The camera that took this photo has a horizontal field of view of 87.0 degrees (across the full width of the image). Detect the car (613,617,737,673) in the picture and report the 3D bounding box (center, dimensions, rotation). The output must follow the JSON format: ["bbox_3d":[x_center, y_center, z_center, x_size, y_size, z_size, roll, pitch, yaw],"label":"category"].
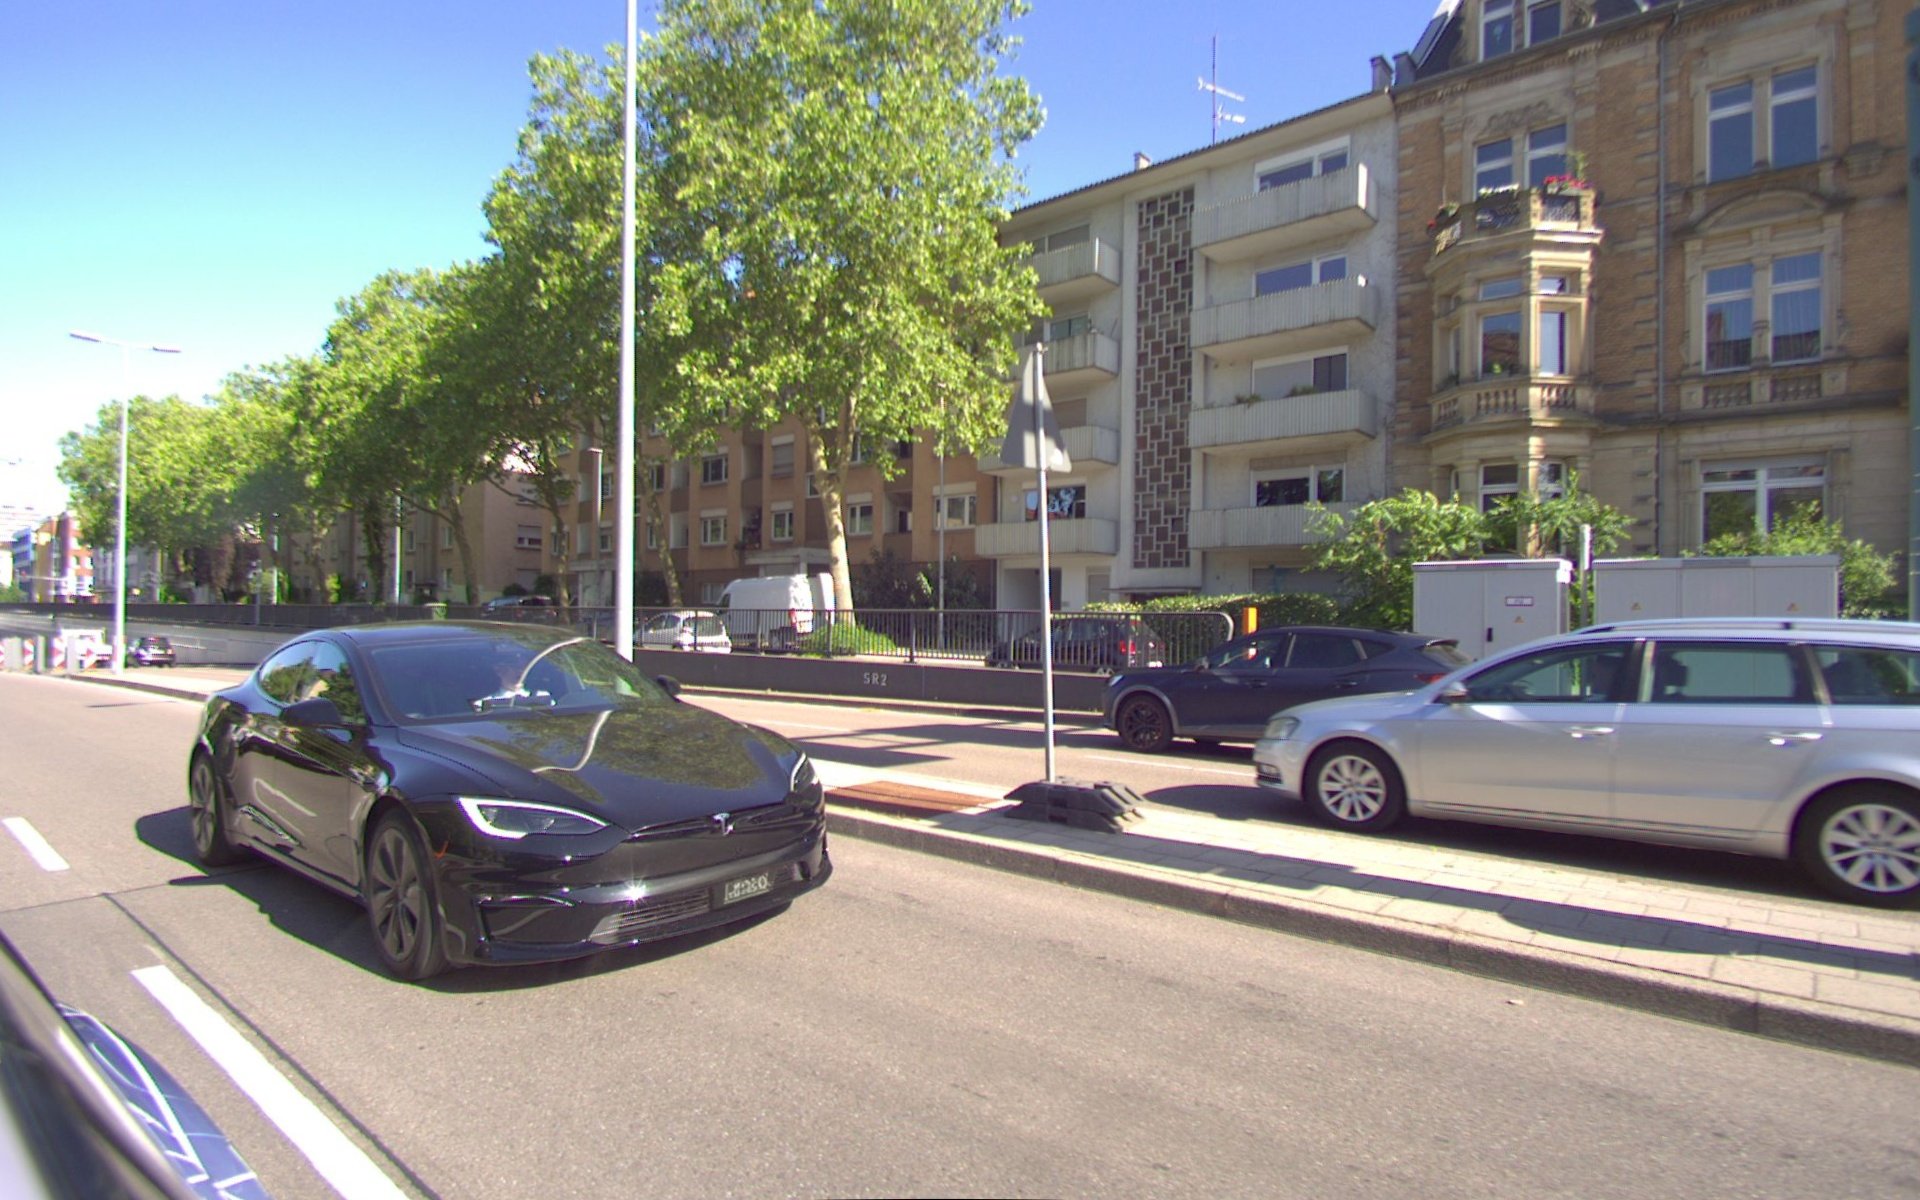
[{"bbox_3d":[-8.336,1.272,29.458,3.684,1.498,1.613,-1,0,38],"label":"car"}]

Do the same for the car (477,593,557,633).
[{"bbox_3d":[-20.676,0.657,47.225,3.999,1.766,1.972,-2,-2,42],"label":"car"}]

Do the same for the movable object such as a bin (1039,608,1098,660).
[{"bbox_3d":[2.946,0.937,27.509,1.314,1.373,0.883,-2,-4,41],"label":"movable object such as a bin"}]

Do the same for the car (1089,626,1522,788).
[{"bbox_3d":[3.686,1.067,11.308,4.309,1.452,1.590,-1,-4,42],"label":"car"}]

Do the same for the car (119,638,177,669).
[{"bbox_3d":[-40.345,2.645,50.290,3.296,1.485,1.641,-1,-3,41],"label":"car"}]

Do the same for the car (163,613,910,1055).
[{"bbox_3d":[-2.603,0.822,5.530,4.622,1.422,1.905,-2,-2,41],"label":"car"}]

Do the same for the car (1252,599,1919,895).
[{"bbox_3d":[4.486,0.815,6.537,4.613,1.464,1.973,-2,-5,40],"label":"car"}]

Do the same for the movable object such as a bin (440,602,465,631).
[{"bbox_3d":[-30.397,1.009,60.579,1.253,1.654,0.873,-2,-4,41],"label":"movable object such as a bin"}]

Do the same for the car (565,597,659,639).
[{"bbox_3d":[-14.372,0.790,41.693,3.999,1.592,1.972,-2,-4,42],"label":"car"}]

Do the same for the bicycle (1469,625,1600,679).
[{"bbox_3d":[11.572,1.025,20.457,2.248,1.013,0.462,-1,0,40],"label":"bicycle"}]

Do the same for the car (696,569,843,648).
[{"bbox_3d":[-6.577,0.372,34.651,5.286,2.465,2.220,-2,-4,43],"label":"car"}]

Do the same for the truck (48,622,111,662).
[{"bbox_3d":[-55.609,2.650,63.890,5.366,2.413,2.255,-2,-4,42],"label":"truck"}]

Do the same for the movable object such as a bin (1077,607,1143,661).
[{"bbox_3d":[3.938,0.913,26.529,1.474,1.371,0.883,-2,-4,43],"label":"movable object such as a bin"}]

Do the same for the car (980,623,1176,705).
[{"bbox_3d":[2.316,1.214,20.370,3.688,1.449,1.611,0,0,41],"label":"car"}]

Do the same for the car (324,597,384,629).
[{"bbox_3d":[-37.115,0.835,61.945,3.998,1.864,1.973,-2,-4,41],"label":"car"}]
